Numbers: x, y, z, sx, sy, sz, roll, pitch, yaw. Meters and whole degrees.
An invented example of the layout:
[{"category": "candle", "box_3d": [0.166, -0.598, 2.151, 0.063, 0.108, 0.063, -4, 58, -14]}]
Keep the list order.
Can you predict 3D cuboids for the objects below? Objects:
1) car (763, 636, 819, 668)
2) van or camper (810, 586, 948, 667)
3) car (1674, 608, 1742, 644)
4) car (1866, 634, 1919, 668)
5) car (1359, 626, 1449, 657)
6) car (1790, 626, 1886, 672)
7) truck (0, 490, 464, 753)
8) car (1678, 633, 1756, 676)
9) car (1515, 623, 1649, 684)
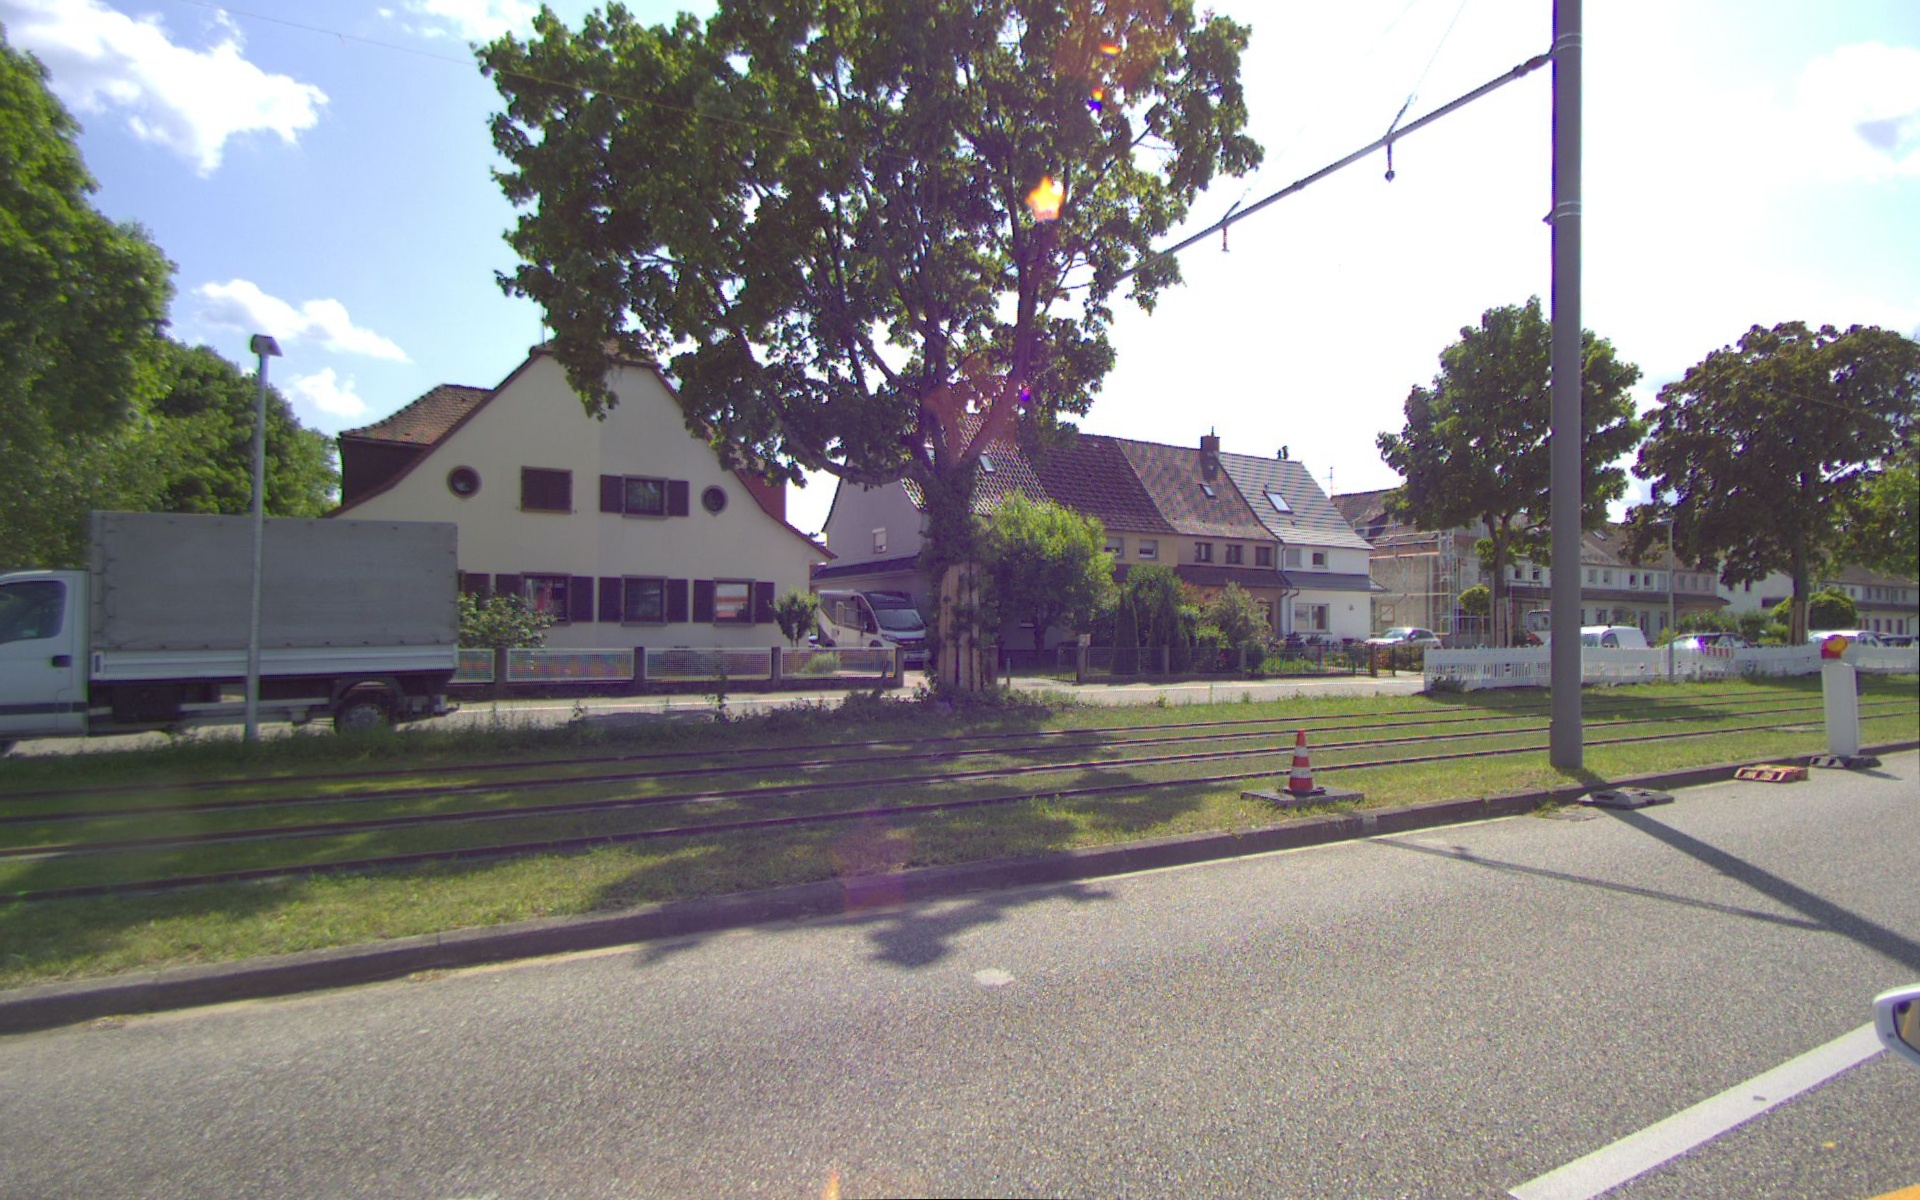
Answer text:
[{"category": "car", "box_3d": [-7.285, 2.220, 43.127, 1.330, 1.189, 2.846, 2, 0, -33]}, {"category": "van or camper", "box_3d": [-3.100, 0.883, 36.535, 2.471, 2.667, 6.302, 2, 0, -30]}, {"category": "car", "box_3d": [45.709, 1.585, 61.376, 3.954, 2.040, 1.983, 2, 0, -31]}, {"category": "car", "box_3d": [39.451, 2.130, 42.083, 3.078, 1.395, 1.344, 2, -3, -30]}, {"category": "car", "box_3d": [19.389, 1.812, 43.856, 4.072, 1.291, 1.527, 2, -3, -31]}, {"category": "car", "box_3d": [33.662, 1.897, 38.494, 3.854, 1.673, 1.615, 2, -3, -30]}, {"category": "truck", "box_3d": [-9.628, 0.270, 12.662, 5.881, 2.842, 2.353, 2, 0, -30]}, {"category": "car", "box_3d": [24.786, 1.772, 32.869, 2.417, 1.365, 1.069, 2, -3, -27]}, {"category": "car", "box_3d": [17.988, 1.553, 29.016, 3.954, 1.647, 1.645, 2, -3, -30]}]
